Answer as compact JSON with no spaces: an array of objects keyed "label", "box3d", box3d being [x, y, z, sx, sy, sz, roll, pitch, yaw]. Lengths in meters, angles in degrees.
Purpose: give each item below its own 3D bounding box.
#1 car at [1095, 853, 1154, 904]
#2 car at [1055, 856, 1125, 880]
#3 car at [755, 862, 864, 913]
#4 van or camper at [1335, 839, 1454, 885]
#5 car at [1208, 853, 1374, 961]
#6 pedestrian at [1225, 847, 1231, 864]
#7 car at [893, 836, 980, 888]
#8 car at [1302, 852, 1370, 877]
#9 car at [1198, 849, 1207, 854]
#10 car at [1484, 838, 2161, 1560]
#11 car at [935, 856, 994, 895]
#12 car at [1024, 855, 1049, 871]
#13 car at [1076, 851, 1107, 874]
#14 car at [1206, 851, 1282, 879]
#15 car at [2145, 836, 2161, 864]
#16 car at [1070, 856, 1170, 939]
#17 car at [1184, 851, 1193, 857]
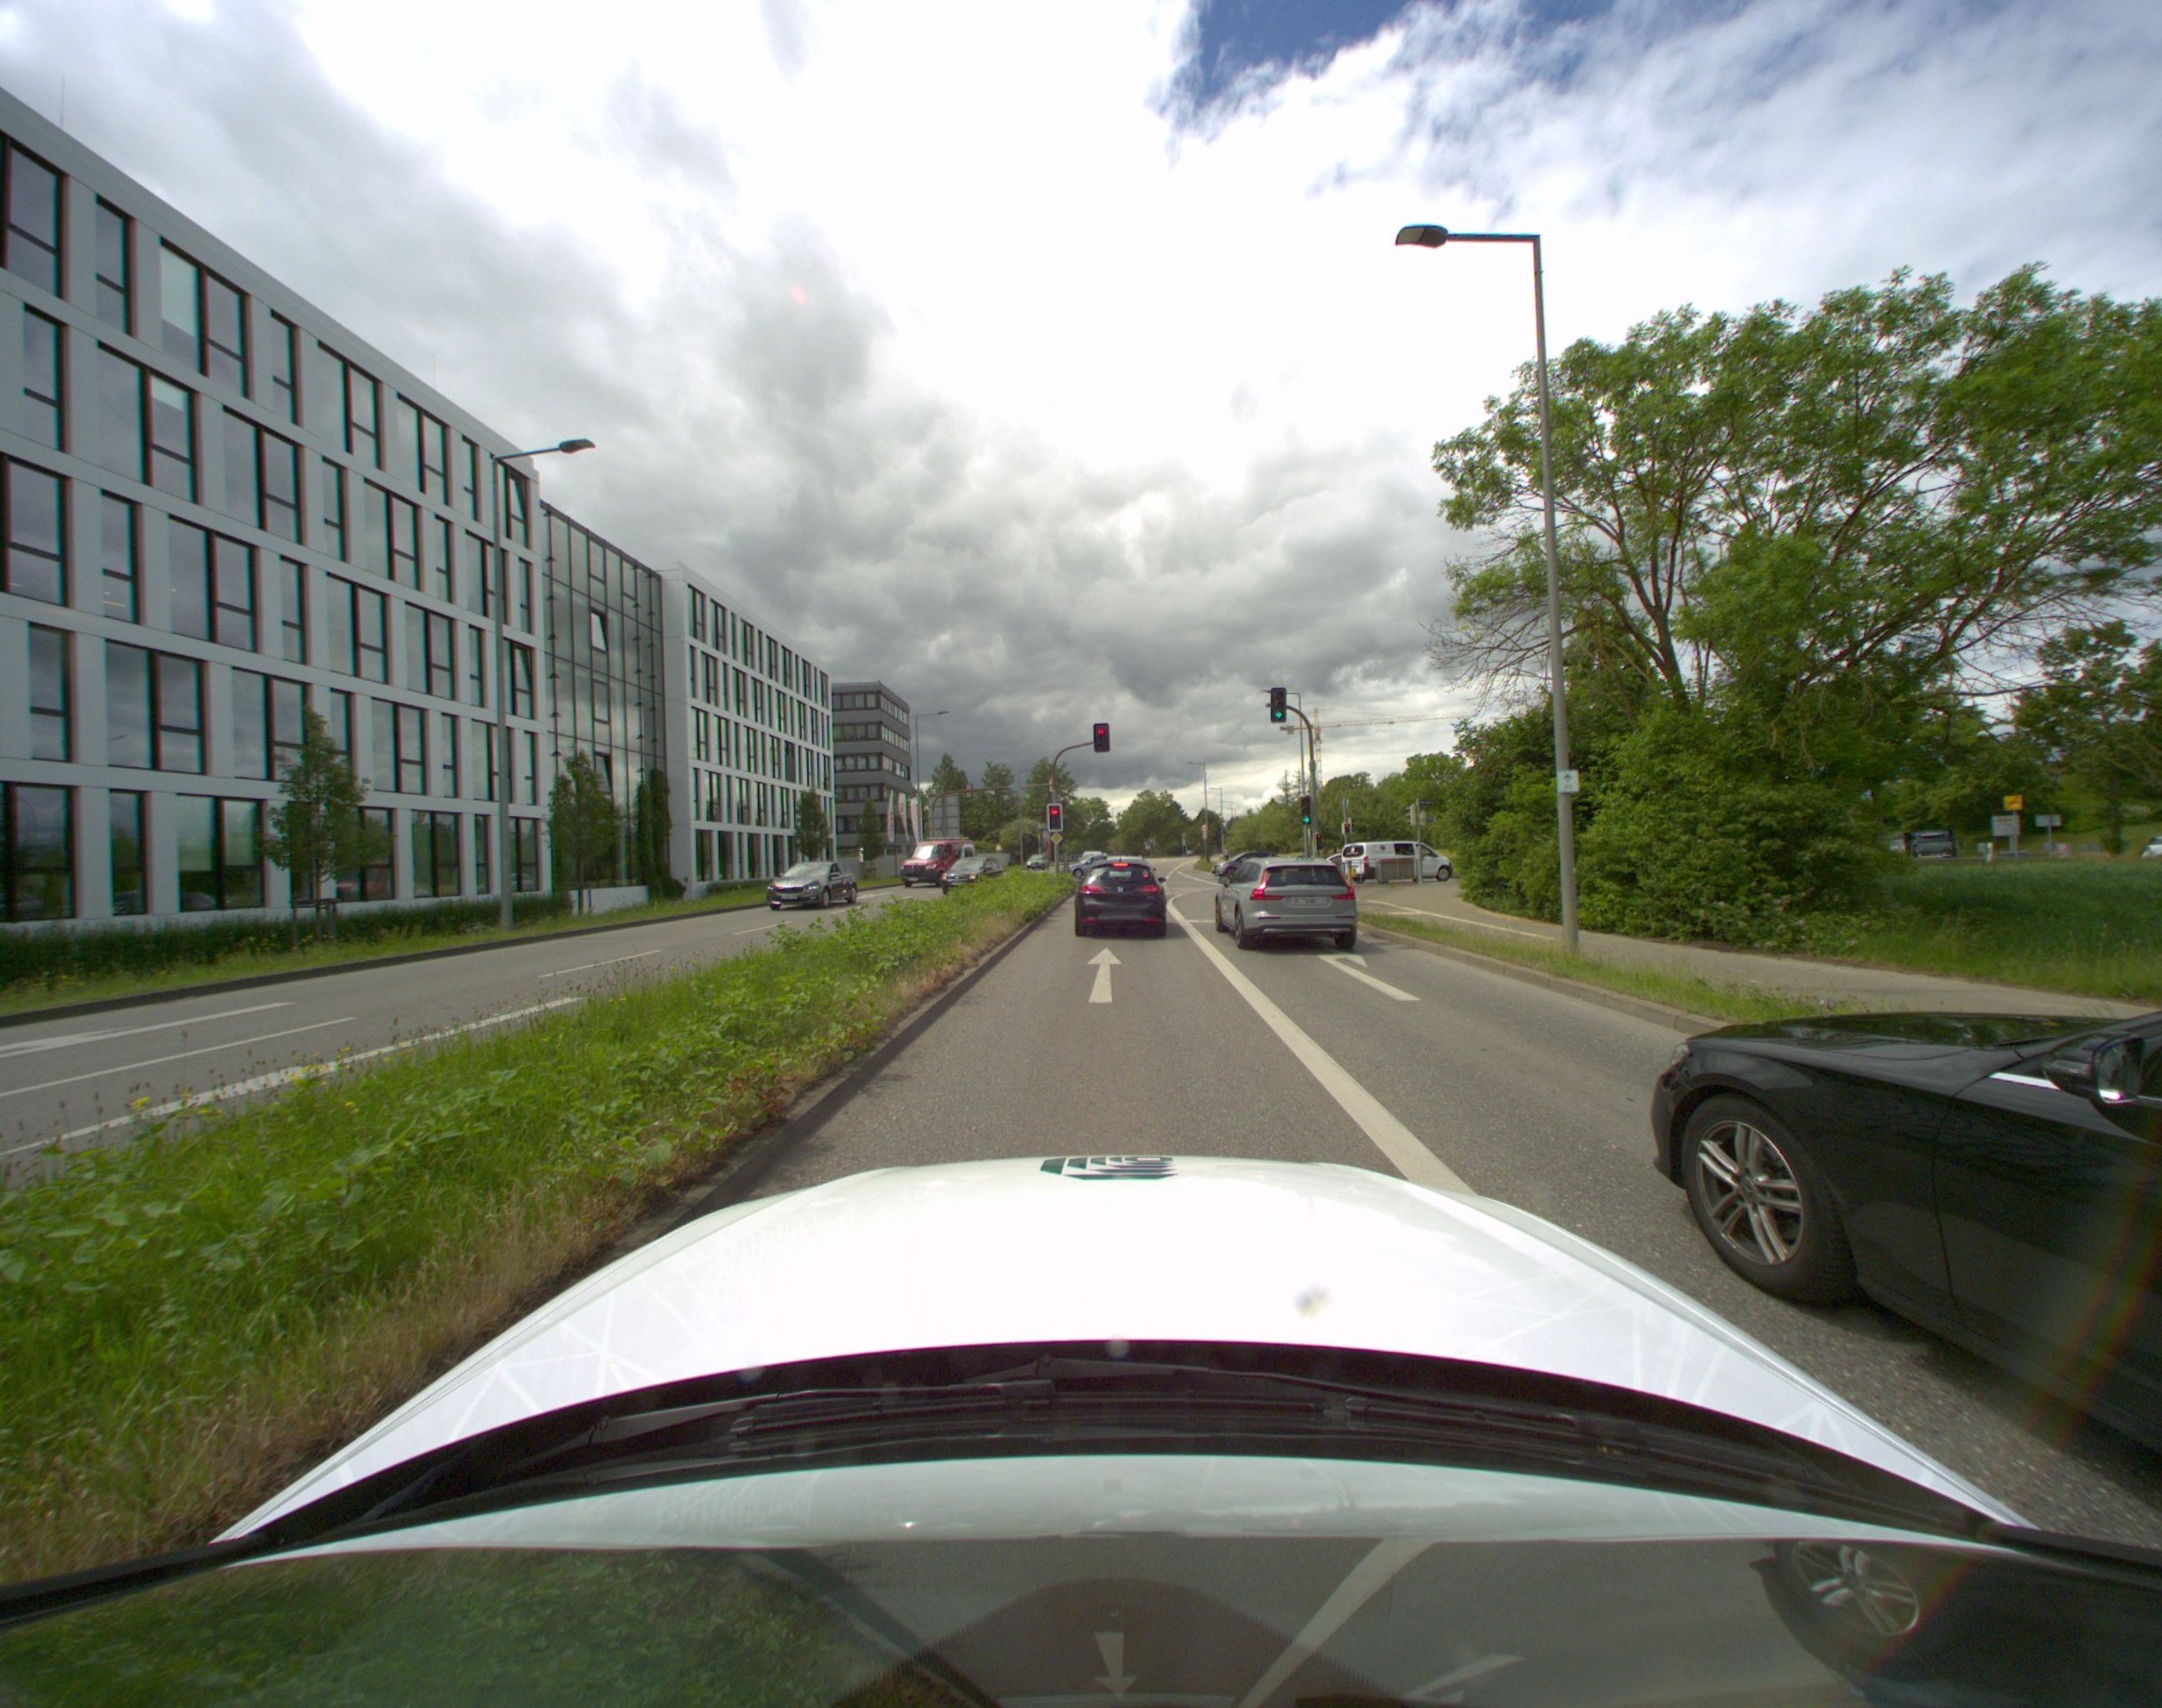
[{"label":"car","box3d":[1.394,0.766,27.207,1.767,1.491,3.582,-2,0,0]},{"label":"car","box3d":[0.574,0.891,52.124,4.001,1.354,1.986,-2,0,-20]},{"label":"car","box3d":[-8.452,0.989,25.748,1.925,1.398,4.002,-1,0,2]},{"label":"van or camper","box3d":[14.359,0.344,37.329,4.943,1.860,1.987,-2,0,-20]},{"label":"car","box3d":[3.461,0.783,14.318,1.856,1.518,4.448,-2,0,2]},{"label":"pedestrian","box3d":[14.748,0.166,81.717,0.556,1.726,0.588,-1,0,3]},{"label":"car","box3d":[-7.238,0.367,41.451,1.977,2.412,5.267,-2,0,20]},{"label":"car","box3d":[16.730,0.668,53.591,3.963,1.530,2.005,-1,0,9]},{"label":"car","box3d":[29.149,-0.615,195.931,1.981,1.352,4.012,-1,0,11]},{"label":"car","box3d":[3.139,0.702,1.778,1.867,1.440,5.198,-2,0,-1]},{"label":"car","box3d":[-4.751,0.834,33.748,1.672,1.482,4.002,-1,0,2]},{"label":"car","box3d":[-4.151,0.807,76.364,1.985,1.352,4.003,-1,0,2]},{"label":"car","box3d":[0.820,0.612,60.478,1.984,1.596,4.007,-1,0,6]},{"label":"car","box3d":[9.615,0.616,48.209,3.980,1.517,1.938,-2,0,-5]},{"label":"car","box3d":[52.981,-0.241,38.700,3.383,1.345,1.682,-2,0,-13]},{"label":"car","box3d":[0.782,0.793,16.414,1.766,1.451,3.584,-1,0,2]},{"label":"car","box3d":[26.816,0.035,203.651,1.981,1.352,4.012,-1,0,11]}]
